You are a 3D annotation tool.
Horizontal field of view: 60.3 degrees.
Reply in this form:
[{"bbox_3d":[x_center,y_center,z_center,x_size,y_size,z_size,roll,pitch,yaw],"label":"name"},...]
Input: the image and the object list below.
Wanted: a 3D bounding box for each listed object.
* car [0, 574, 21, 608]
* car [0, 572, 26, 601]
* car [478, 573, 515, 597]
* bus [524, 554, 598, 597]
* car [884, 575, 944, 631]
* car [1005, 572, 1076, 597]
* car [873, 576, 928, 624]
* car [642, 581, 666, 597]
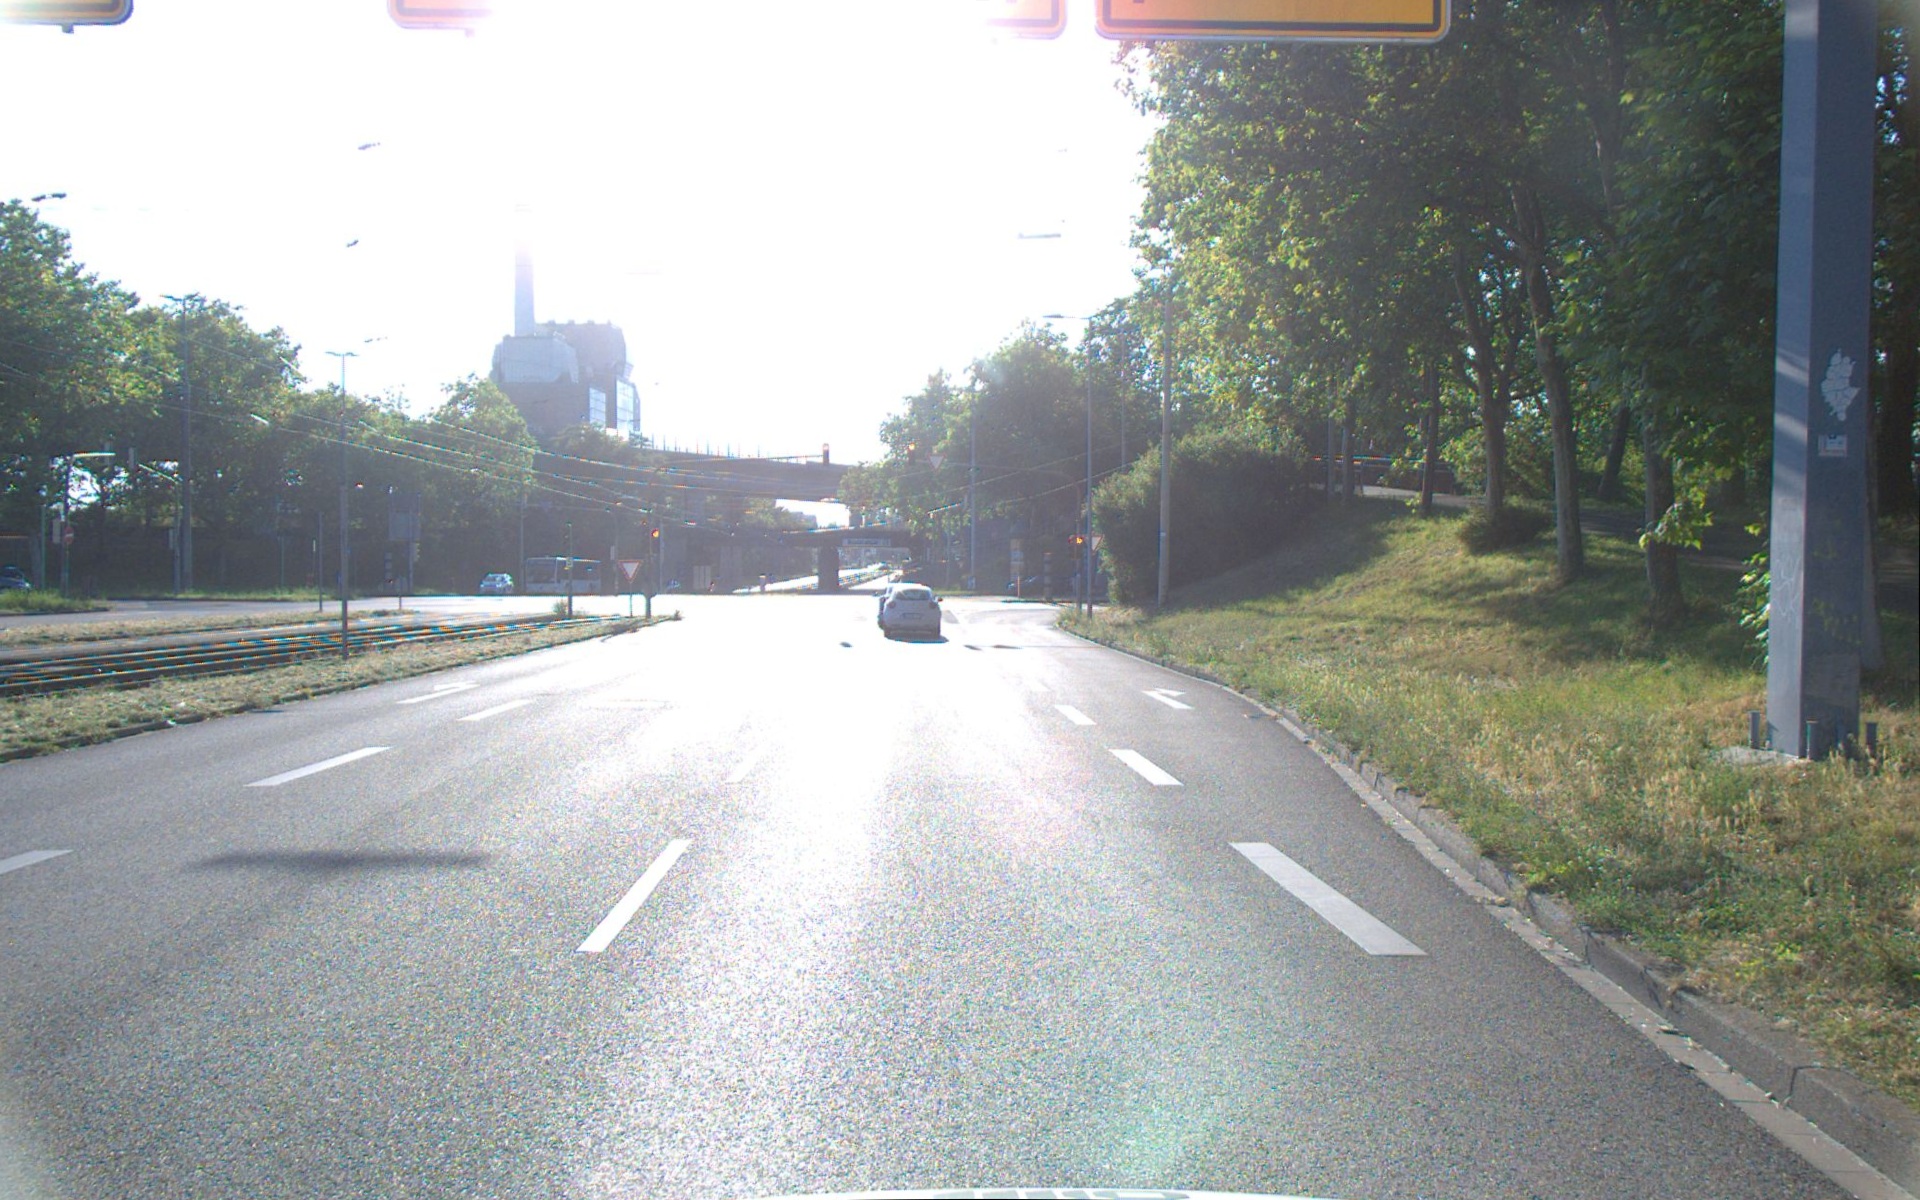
[{"bbox_3d":[-41.971,-0.397,69.422,4.388,1.429,1.652,0,1,-33],"label":"car"},{"bbox_3d":[-53.688,-0.748,90.676,3.905,1.531,1.742,0,1,0],"label":"car"},{"bbox_3d":[-31.346,-1.029,112.048,1.575,1.538,4.006,1,1,-3],"label":"car"},{"bbox_3d":[-31.337,-1.842,130.371,2.491,3.184,12.919,0,0,1],"label":"bus"},{"bbox_3d":[-1.406,0.054,49.191,1.702,1.531,3.998,0,1,-3],"label":"car"},{"bbox_3d":[5.420,-1.035,112.009,4.506,1.602,1.685,1,1,-19],"label":"car"},{"bbox_3d":[-2.036,-0.041,55.670,1.680,1.491,4.203,0,1,-5],"label":"car"},{"bbox_3d":[-29.706,-1.068,160.711,1.574,1.443,4.008,1,1,0],"label":"car"}]
